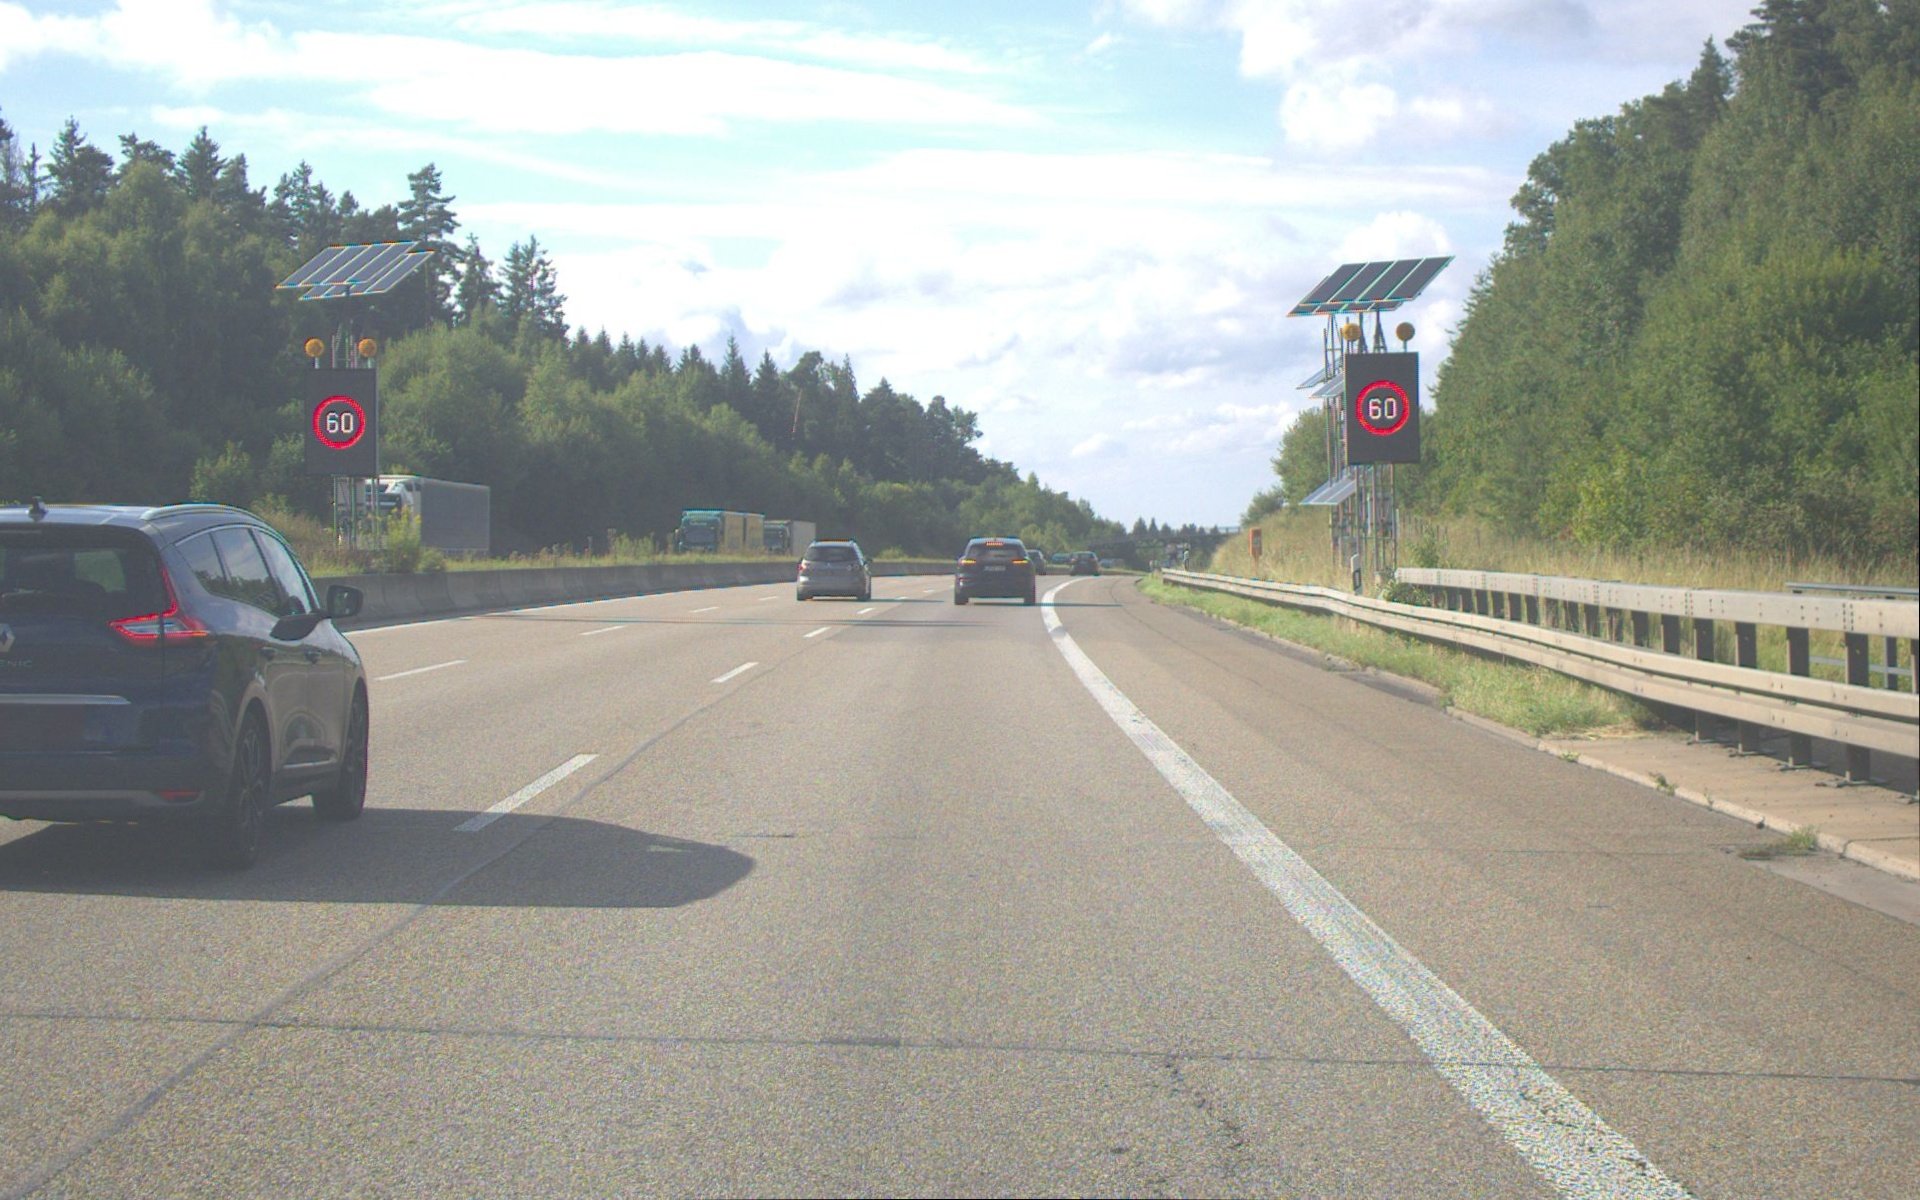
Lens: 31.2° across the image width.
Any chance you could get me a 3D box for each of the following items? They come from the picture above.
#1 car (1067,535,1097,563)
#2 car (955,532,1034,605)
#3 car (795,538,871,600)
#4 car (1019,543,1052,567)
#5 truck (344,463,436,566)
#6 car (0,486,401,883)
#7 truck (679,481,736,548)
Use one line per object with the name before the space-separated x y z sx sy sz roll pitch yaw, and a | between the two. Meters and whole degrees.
car | 7.609 -3.178 214.815 1.812 1.700 4.000 0 2 1
car | 0.860 -0.778 83.695 1.874 1.669 3.890 1 2 1
car | -3.272 -0.817 89.045 1.873 1.492 3.880 1 2 -1
car | 4.931 -2.956 225.017 1.874 1.492 3.879 1 2 5
truck | -21.032 -3.149 127.083 2.279 3.716 5.532 0 1 2
car | -4.097 0.312 17.077 1.993 1.701 4.530 1 1 -1
truck | -15.620 -5.271 213.100 2.650 4.072 6.415 0 1 4
